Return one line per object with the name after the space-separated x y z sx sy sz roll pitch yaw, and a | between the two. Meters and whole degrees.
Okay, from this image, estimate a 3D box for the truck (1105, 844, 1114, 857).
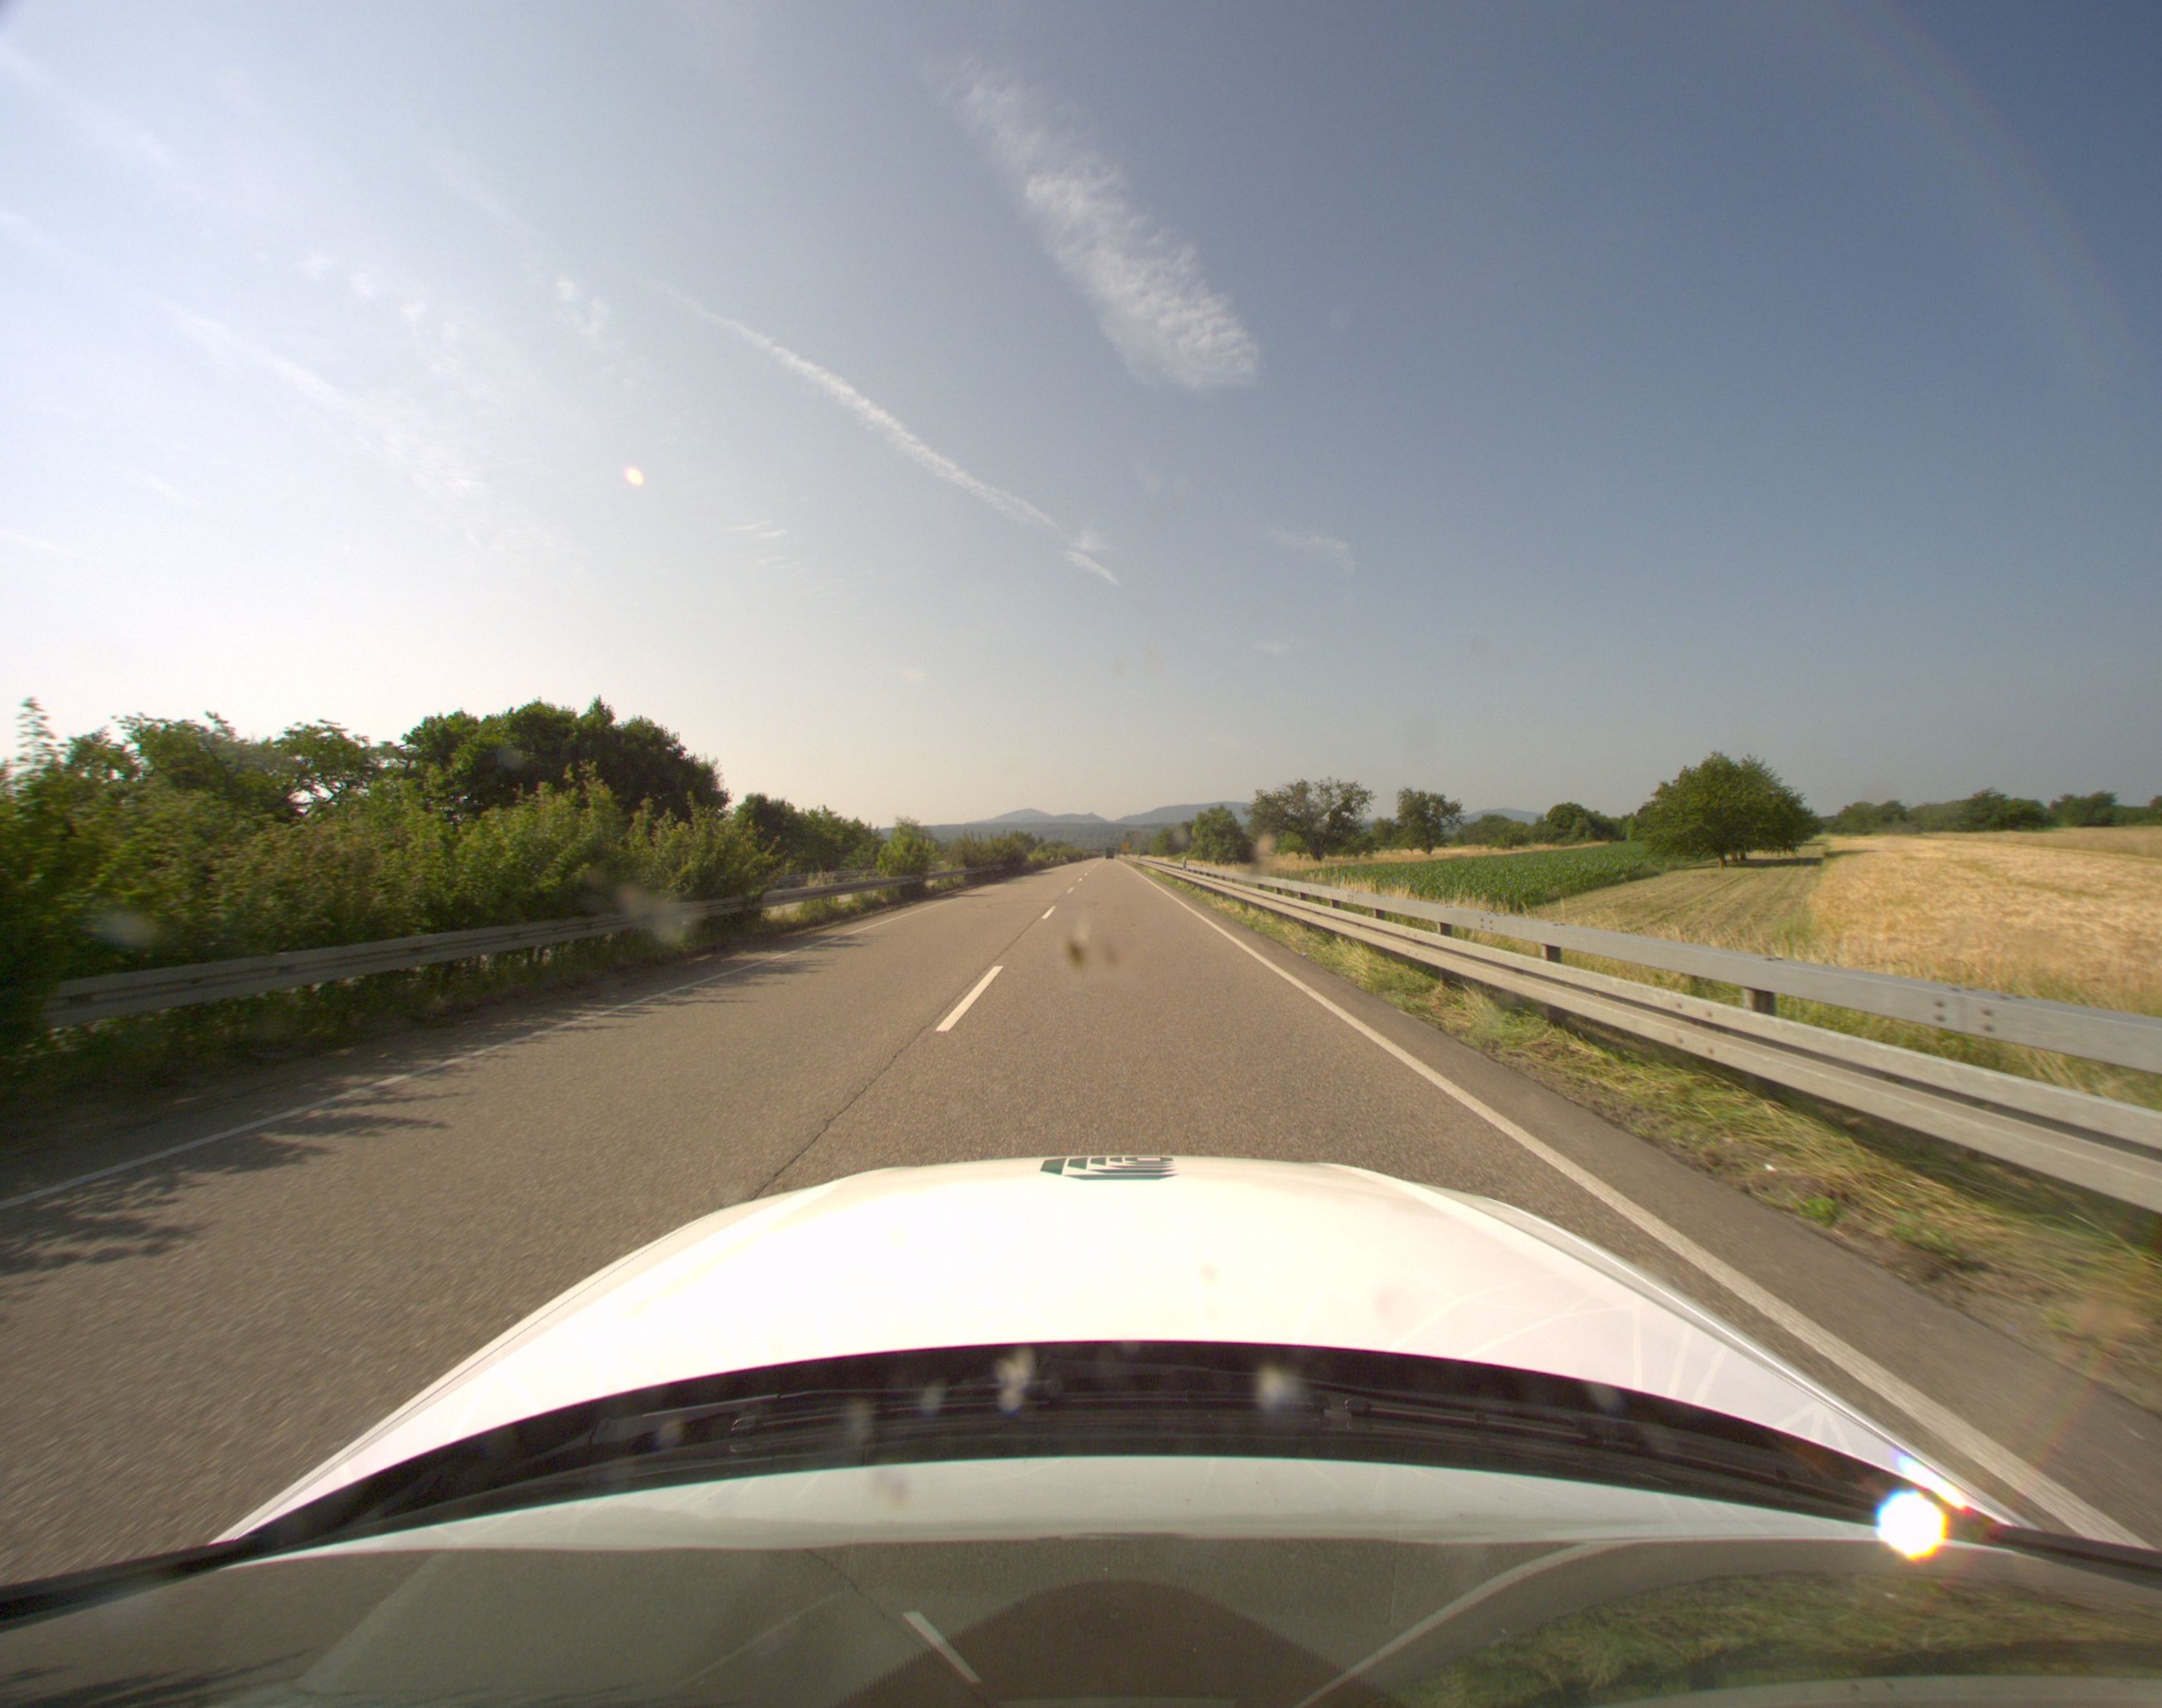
9.087 -1.023 256.755 2.711 3.965 10.422 0 1 2 | truck
